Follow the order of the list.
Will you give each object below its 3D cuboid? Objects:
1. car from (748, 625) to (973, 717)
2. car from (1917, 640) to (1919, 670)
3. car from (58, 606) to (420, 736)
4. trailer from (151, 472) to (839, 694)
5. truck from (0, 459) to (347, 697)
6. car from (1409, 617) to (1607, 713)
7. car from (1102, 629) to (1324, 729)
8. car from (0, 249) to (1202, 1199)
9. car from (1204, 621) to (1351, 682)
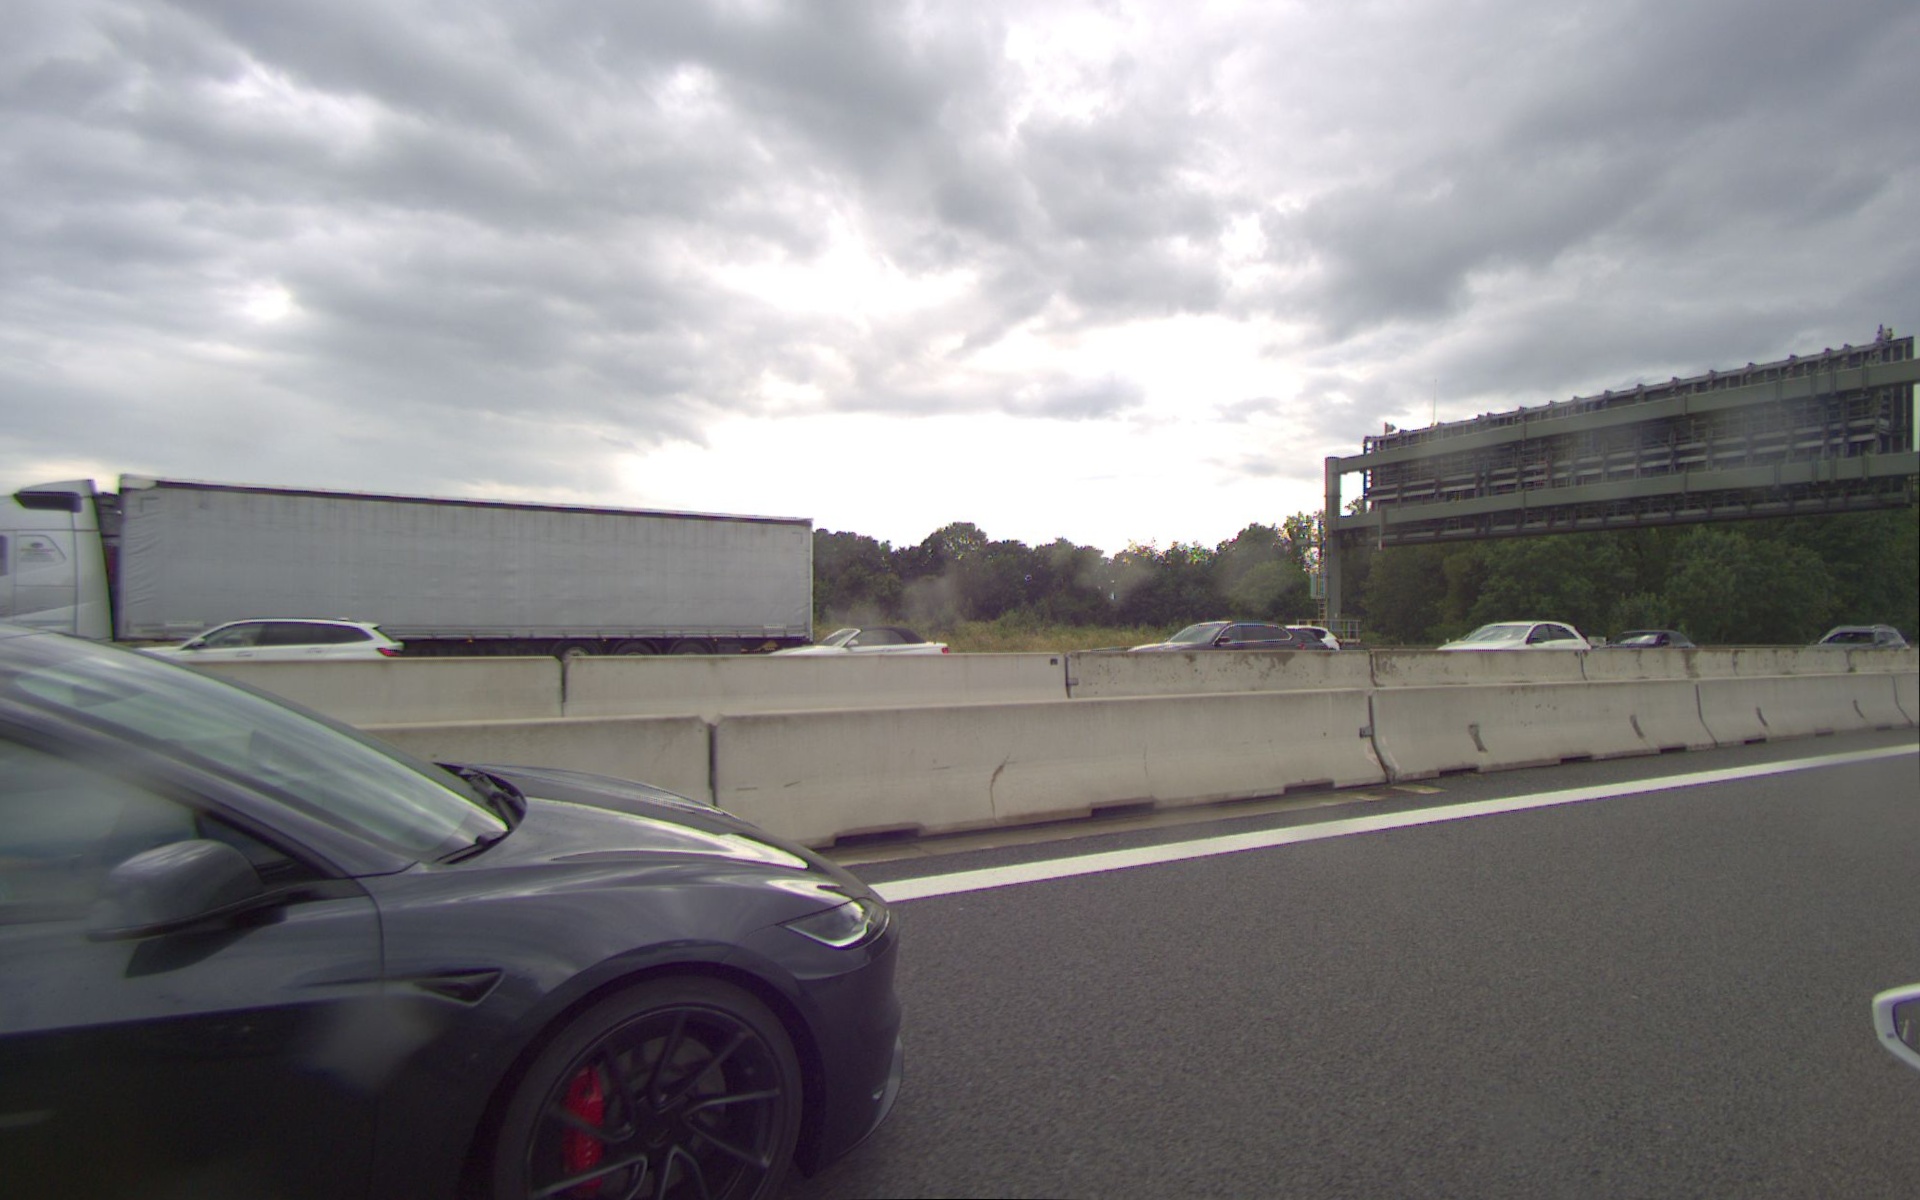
[{"bbox_3d":[-2.164,1.507,22.233,4.619,1.805,1.811,1,0,-31],"label":"car"},{"bbox_3d":[67.880,3.803,68.976,4.507,2.040,1.899,1,0,-30],"label":"car"},{"bbox_3d":[-11.792,1.107,16.924,4.704,1.898,1.984,1,0,-30],"label":"car"},{"bbox_3d":[-9.747,-0.180,23.318,13.647,4.082,3.223,1,0,-31],"label":"trailer"},{"bbox_3d":[-15.733,-0.341,19.719,6.160,4.111,3.205,1,0,-31],"label":"truck"},{"bbox_3d":[12.370,1.396,22.623,4.311,1.917,1.984,1,0,-30],"label":"car"},{"bbox_3d":[5.899,1.737,23.230,5.038,2.040,1.984,1,0,-30],"label":"car"},{"bbox_3d":[-2.011,0.368,2.433,5.102,1.845,1.984,1,0,-30],"label":"car"},{"bbox_3d":[11.377,1.805,35.946,4.770,1.978,2.419,1,0,-30],"label":"car"}]
